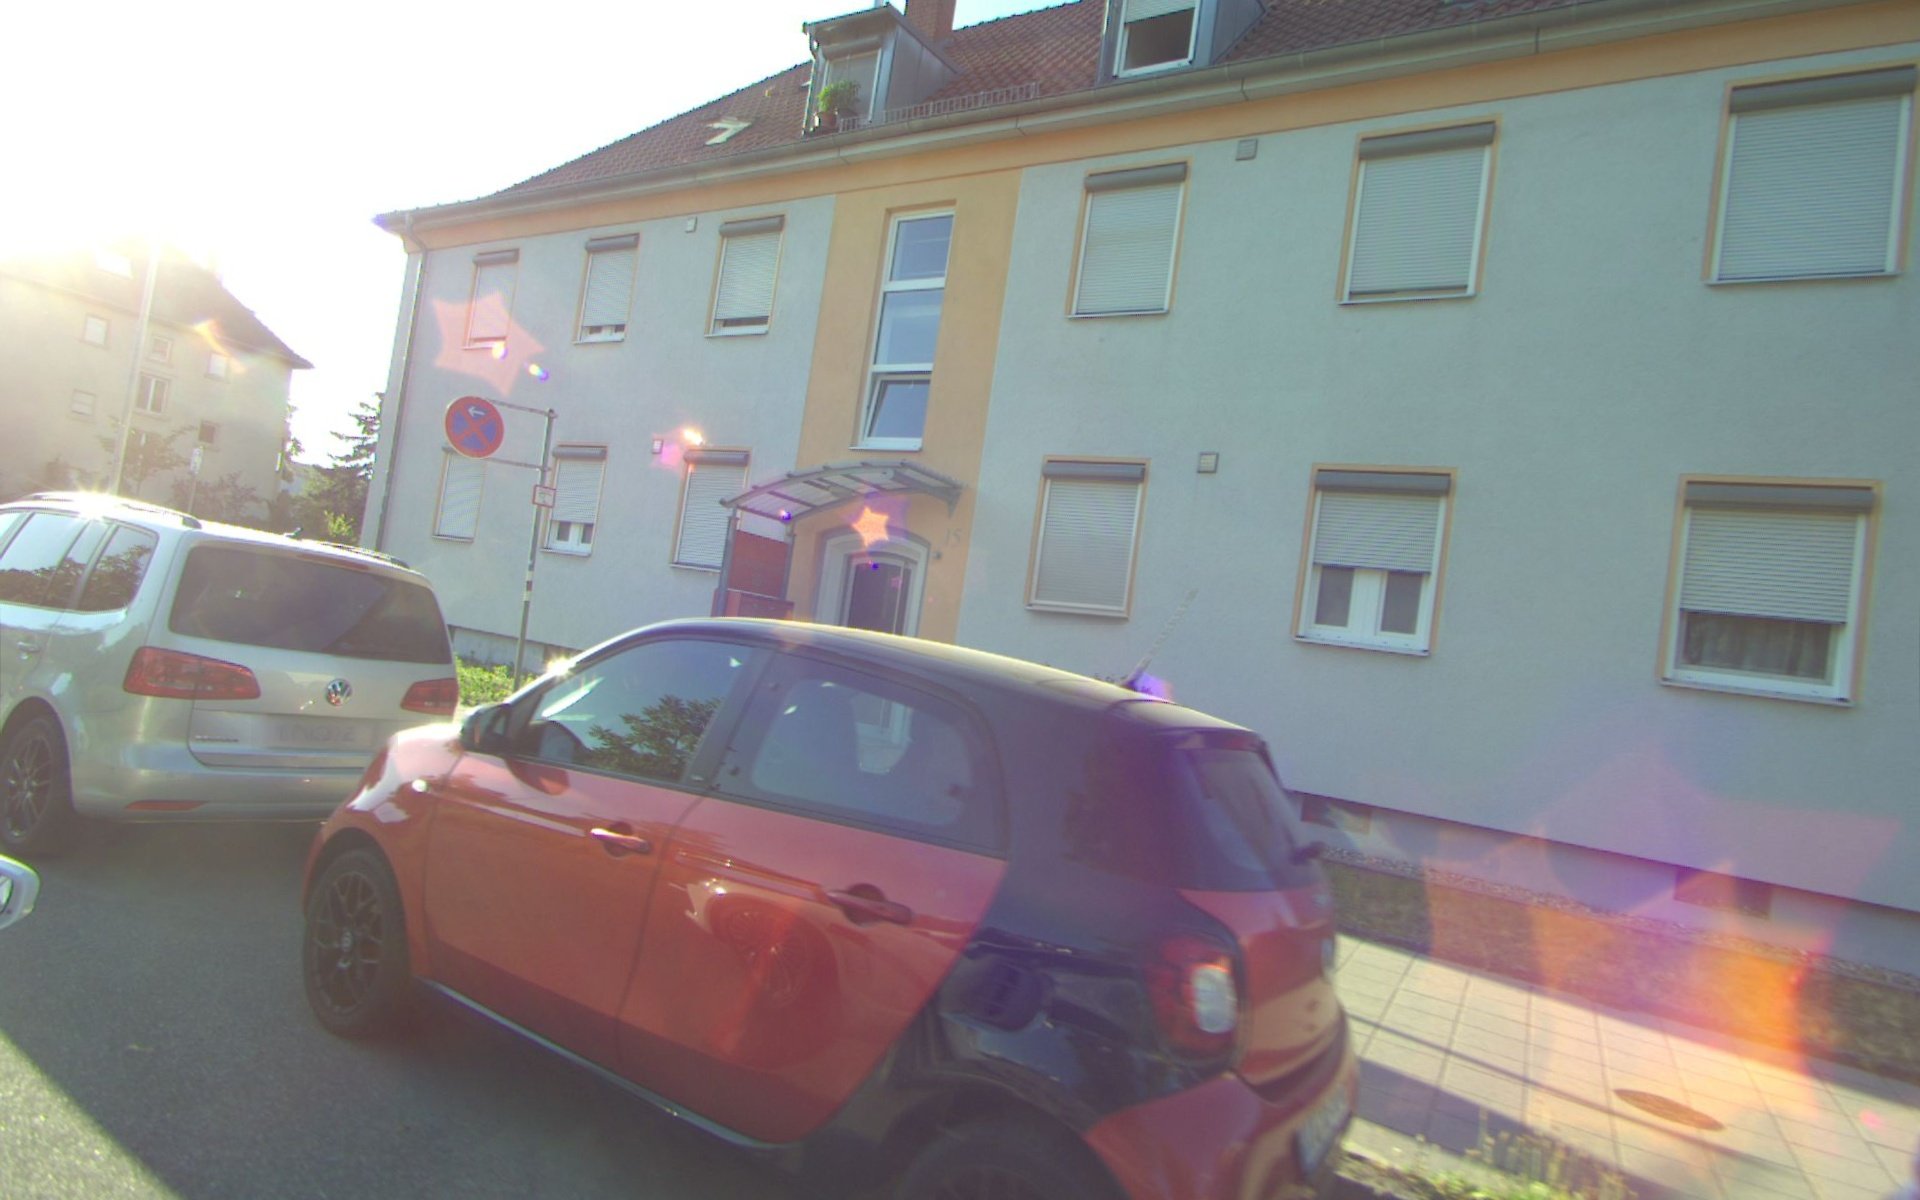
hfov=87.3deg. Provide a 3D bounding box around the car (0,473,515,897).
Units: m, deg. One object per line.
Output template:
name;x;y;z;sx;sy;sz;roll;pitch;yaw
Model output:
car;-4.957;0.268;5.860;4.485;1.655;1.724;7;-5;28

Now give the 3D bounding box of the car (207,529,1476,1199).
car;-0.508;0.787;3.278;3.672;1.544;1.733;7;-2;31

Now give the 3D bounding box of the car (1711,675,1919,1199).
car;3.559;1.191;0.649;4.677;1.661;1.782;6;-3;31
